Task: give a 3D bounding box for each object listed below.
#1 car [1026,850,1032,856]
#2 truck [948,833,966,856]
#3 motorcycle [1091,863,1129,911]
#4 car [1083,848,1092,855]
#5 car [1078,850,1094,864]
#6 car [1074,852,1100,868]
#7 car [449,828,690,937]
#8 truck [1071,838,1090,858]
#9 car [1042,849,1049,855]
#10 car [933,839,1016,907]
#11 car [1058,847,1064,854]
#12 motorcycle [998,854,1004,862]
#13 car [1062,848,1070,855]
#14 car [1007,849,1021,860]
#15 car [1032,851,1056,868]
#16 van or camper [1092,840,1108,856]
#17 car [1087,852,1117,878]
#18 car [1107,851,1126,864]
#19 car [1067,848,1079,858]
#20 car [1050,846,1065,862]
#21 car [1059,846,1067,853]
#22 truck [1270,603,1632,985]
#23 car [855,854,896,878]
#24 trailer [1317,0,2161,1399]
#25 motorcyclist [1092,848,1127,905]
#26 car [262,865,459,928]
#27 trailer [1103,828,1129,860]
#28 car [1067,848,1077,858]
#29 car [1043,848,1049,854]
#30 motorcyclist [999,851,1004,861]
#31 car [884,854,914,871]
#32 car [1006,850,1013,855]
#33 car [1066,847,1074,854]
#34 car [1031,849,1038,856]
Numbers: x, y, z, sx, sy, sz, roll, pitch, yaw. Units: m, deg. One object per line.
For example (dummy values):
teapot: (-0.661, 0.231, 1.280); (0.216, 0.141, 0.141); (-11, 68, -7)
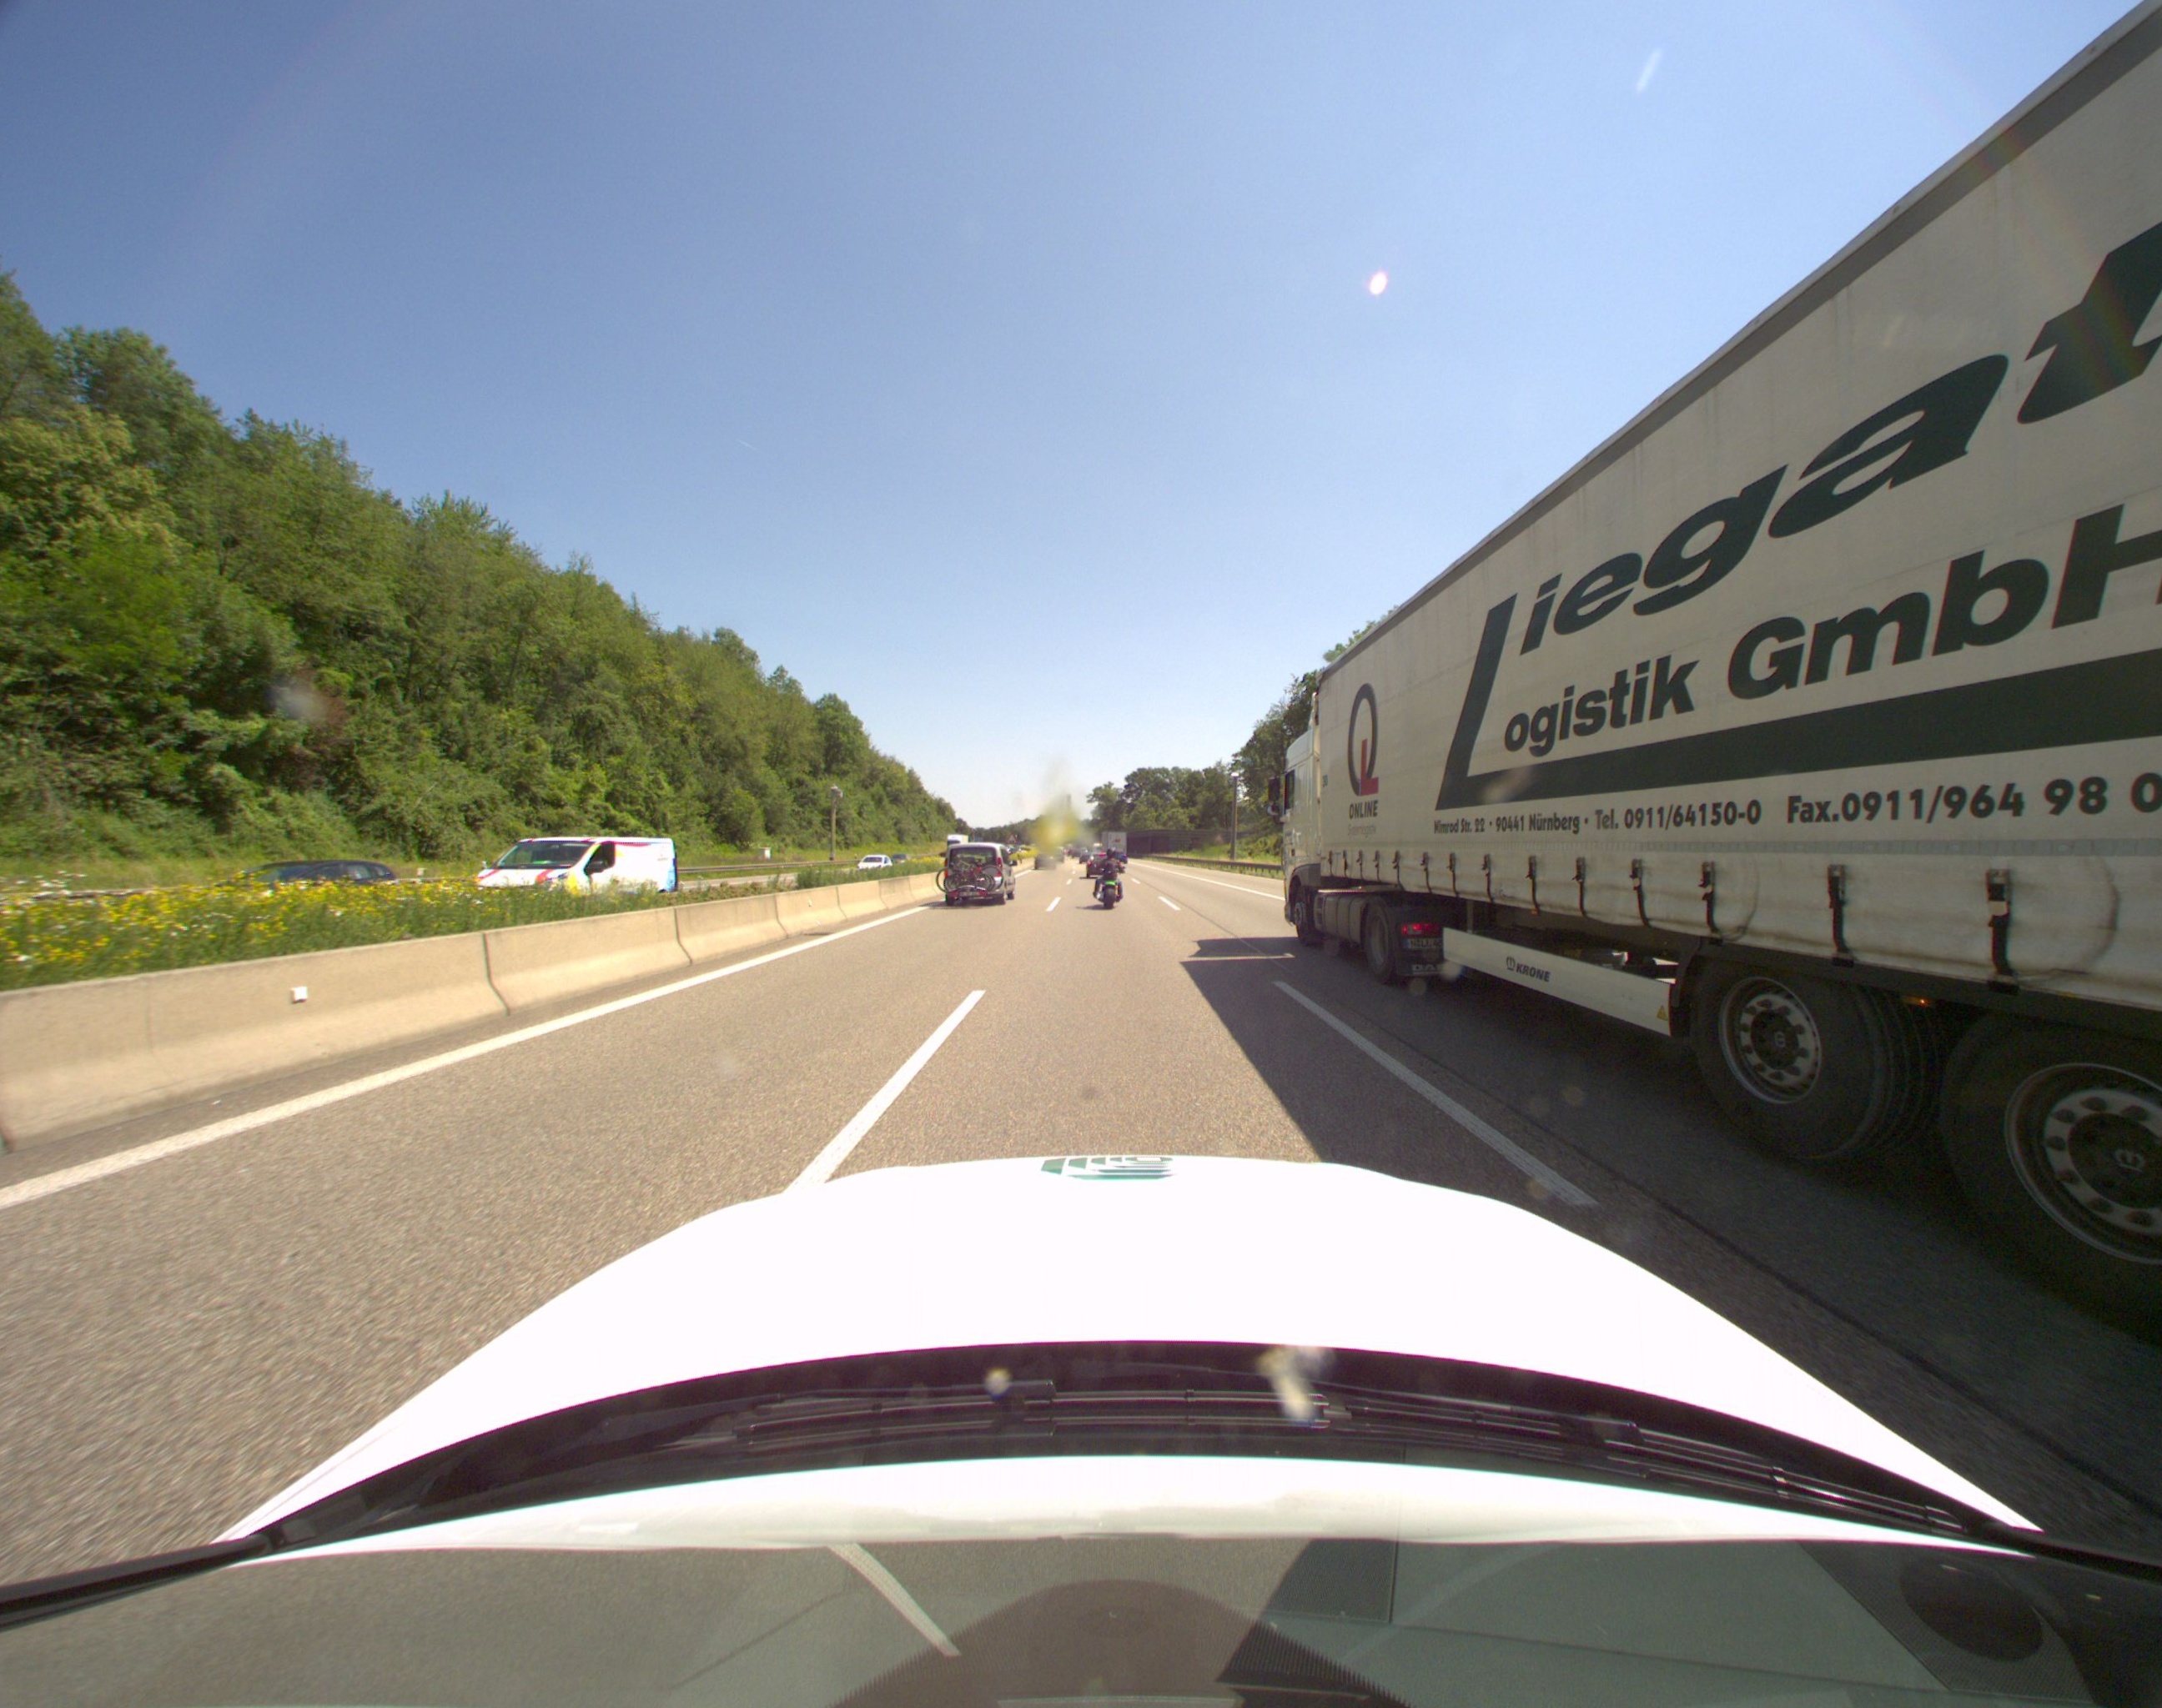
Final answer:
car: (-16.658, -0.363, 261.567); (1.831, 1.849, 3.773); (0, -1, -3)
truck: (-22.370, -1.713, 147.305); (2.683, 4.090, 5.198); (0, -1, -2)
motorcycle: (0.777, 0.863, 22.143); (0.961, 1.148, 2.813); (0, 1, 2)
car: (1.541, -0.538, 196.461); (1.988, 1.574, 3.997); (0, -1, -2)
car: (0.571, 0.332, 94.608); (1.775, 1.552, 3.581); (0, -1, -3)
car: (0.516, 0.569, 73.655); (1.990, 1.430, 3.840); (0, -1, -5)
car: (-10.717, 0.550, 17.626); (1.986, 2.014, 4.902); (0, -1, 2)
truck: (-0.156, -1.498, 208.360); (3.798, 4.960, 8.932); (0, -1, -6)
car: (-8.452, -0.491, 193.766); (1.828, 1.496, 3.739); (0, -1, -3)
car: (-3.102, 0.539, 24.610); (1.893, 1.873, 4.412); (0, -1, 0)
car: (-5.637, -1.003, 226.530); (1.721, 1.744, 3.861); (0, -1, -3)
motorcycle: (-10.637, 0.572, 108.795); (0.621, 1.033, 1.467); (0, 0, 1)
car: (-3.483, -0.560, 189.690); (1.828, 1.496, 3.739); (0, -1, -3)
car: (-11.481, 0.069, 139.852); (1.987, 1.678, 4.080); (-1, 0, 0)
car: (-3.125, 0.502, 70.138); (1.988, 1.387, 3.997); (0, -1, -2)
van or camper: (3.503, -1.142, 152.097); (2.677, 2.813, 6.801); (0, -1, 0)
car: (1.220, 0.610, 47.444); (1.657, 1.453, 3.869); (0, -1, 1)
car: (4.132, 0.389, 95.173); (1.647, 1.483, 4.474); (0, 0, -4)
car: (-1.390, -0.111, 141.099); (1.987, 1.640, 3.999); (0, -1, 0)
car: (-2.956, -0.005, 101.470); (1.786, 2.014, 3.640); (0, -1, -1)
car: (-5.384, -1.337, 243.705); (2.104, 1.876, 3.993); (0, -1, -5)
truck: (4.748, -0.709, 11.914); (2.775, 4.204, 5.872); (0, 1, 2)
car: (-13.177, 0.733, 52.404); (1.665, 1.508, 3.828); (0, 0, 1)
trailer: (4.517, -0.612, 4.852); (2.775, 4.204, 13.250); (0, 1, 2)
motorcyclist: (0.781, 0.591, 22.183); (0.896, 1.475, 1.873); (0, -1, 2)
car: (-17.233, 0.954, 19.723); (1.609, 1.316, 3.508); (0, 0, 0)
trailer: (4.672, -1.357, 111.009); (2.877, 4.038, 13.791); (0, 1, -1)
car: (-1.915, -0.112, 169.289); (1.907, 2.014, 3.687); (0, -1, -3)
car: (-9.971, -0.805, 232.035); (1.828, 1.496, 3.739); (0, -1, -3)
motorcyclist: (-10.640, 0.319, 108.752); (0.620, 1.334, 0.578); (0, 0, 1)
car: (-17.633, 0.799, 79.011); (1.987, 1.508, 3.999); (-1, 1, 0)
car: (-17.750, -0.369, 202.727); (1.618, 1.386, 4.135); (0, 0, -2)
car: (-3.343, -1.038, 238.061); (2.104, 1.876, 3.993); (0, -1, -5)
car: (-12.693, -0.343, 221.406); (1.776, 1.822, 3.903); (0, 0, -3)
